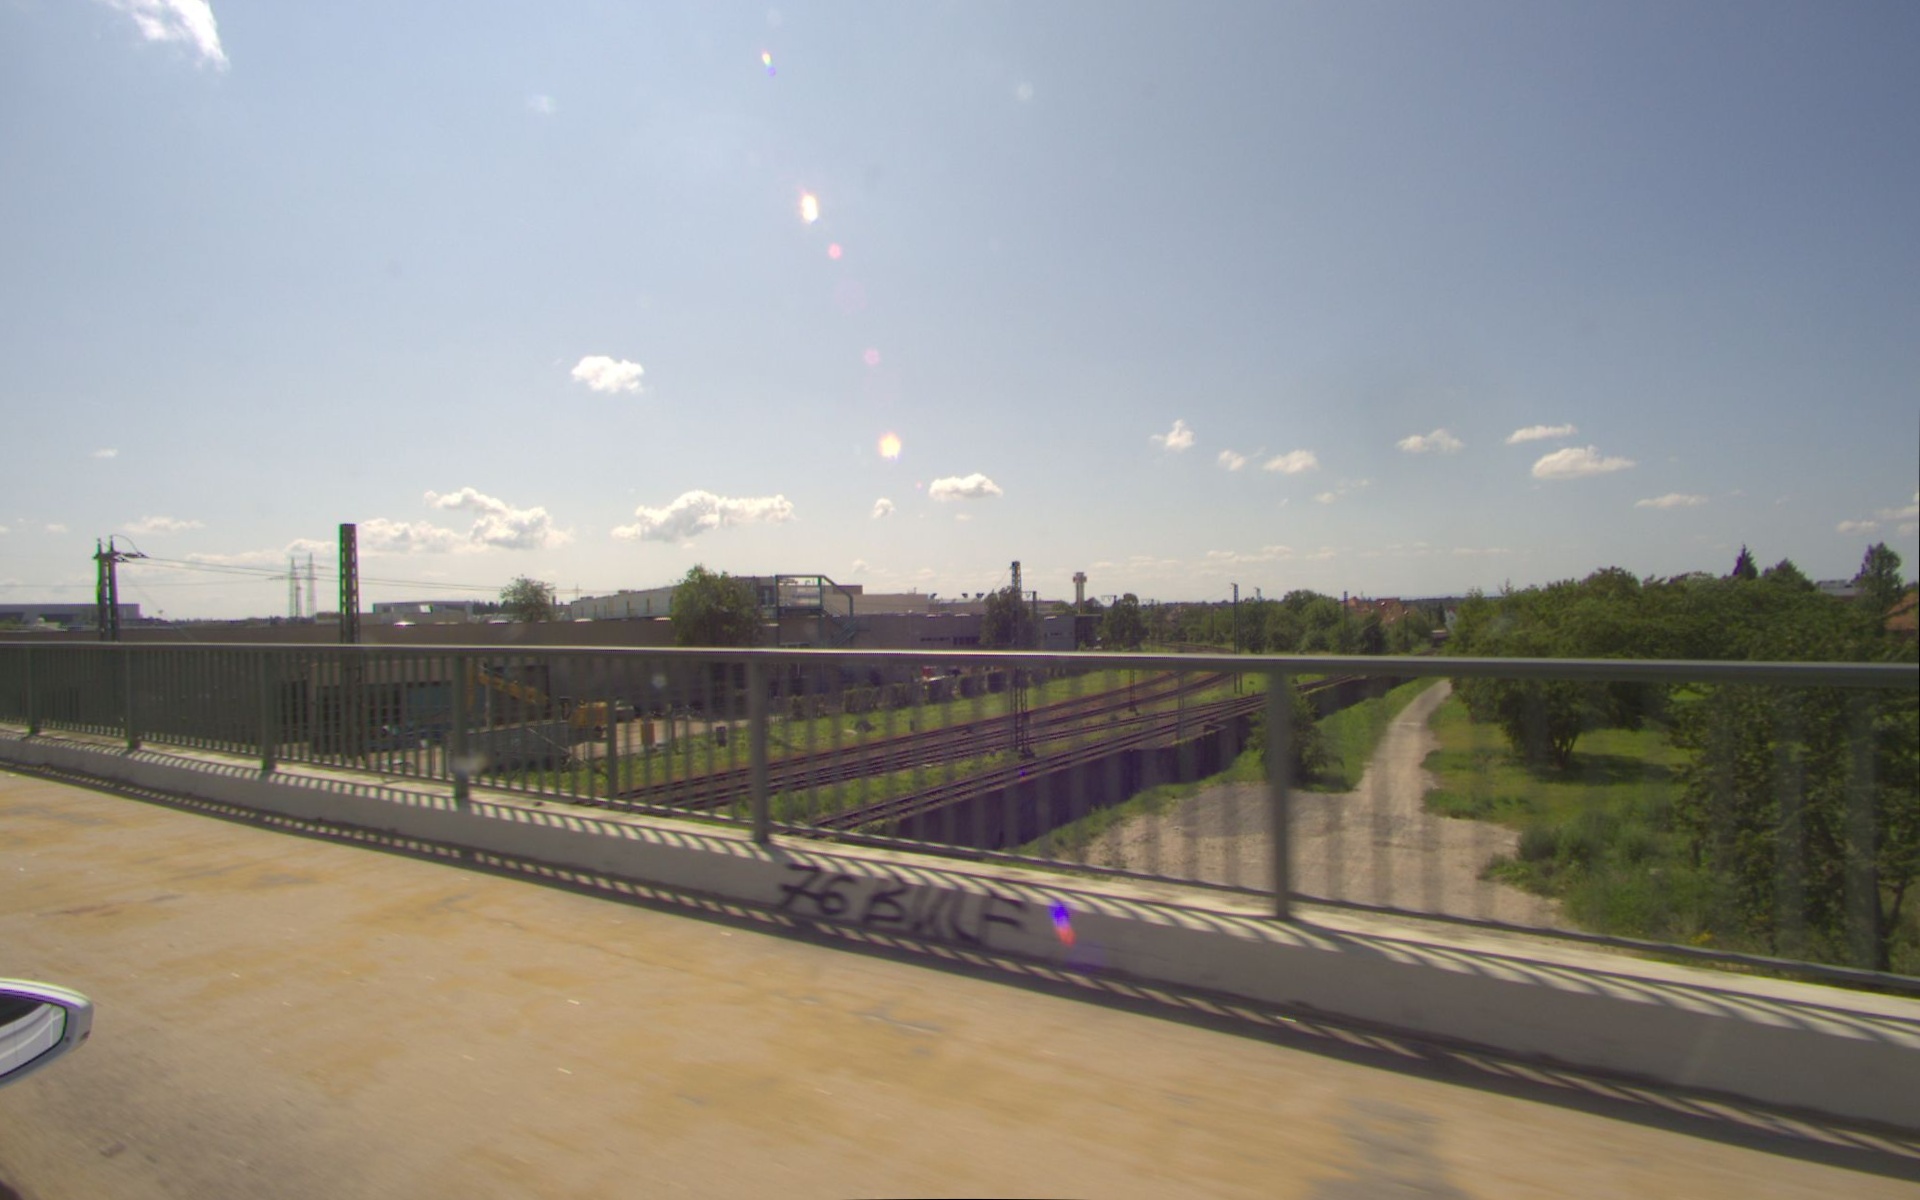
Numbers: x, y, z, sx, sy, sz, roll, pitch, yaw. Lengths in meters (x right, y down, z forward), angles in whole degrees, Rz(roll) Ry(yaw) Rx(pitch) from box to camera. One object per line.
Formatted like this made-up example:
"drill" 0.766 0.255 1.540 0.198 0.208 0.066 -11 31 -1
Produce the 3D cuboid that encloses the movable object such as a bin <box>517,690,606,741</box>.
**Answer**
"movable object such as a bin" -31.110 8.970 78.198 6.132 3.334 3.232 0 0 -29

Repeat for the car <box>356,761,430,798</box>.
"car" -32.120 10.153 56.699 4.188 1.614 1.990 -2 -5 36

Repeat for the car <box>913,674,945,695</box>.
"car" -3.509 9.518 113.418 1.968 2.040 3.986 -1 0 25
